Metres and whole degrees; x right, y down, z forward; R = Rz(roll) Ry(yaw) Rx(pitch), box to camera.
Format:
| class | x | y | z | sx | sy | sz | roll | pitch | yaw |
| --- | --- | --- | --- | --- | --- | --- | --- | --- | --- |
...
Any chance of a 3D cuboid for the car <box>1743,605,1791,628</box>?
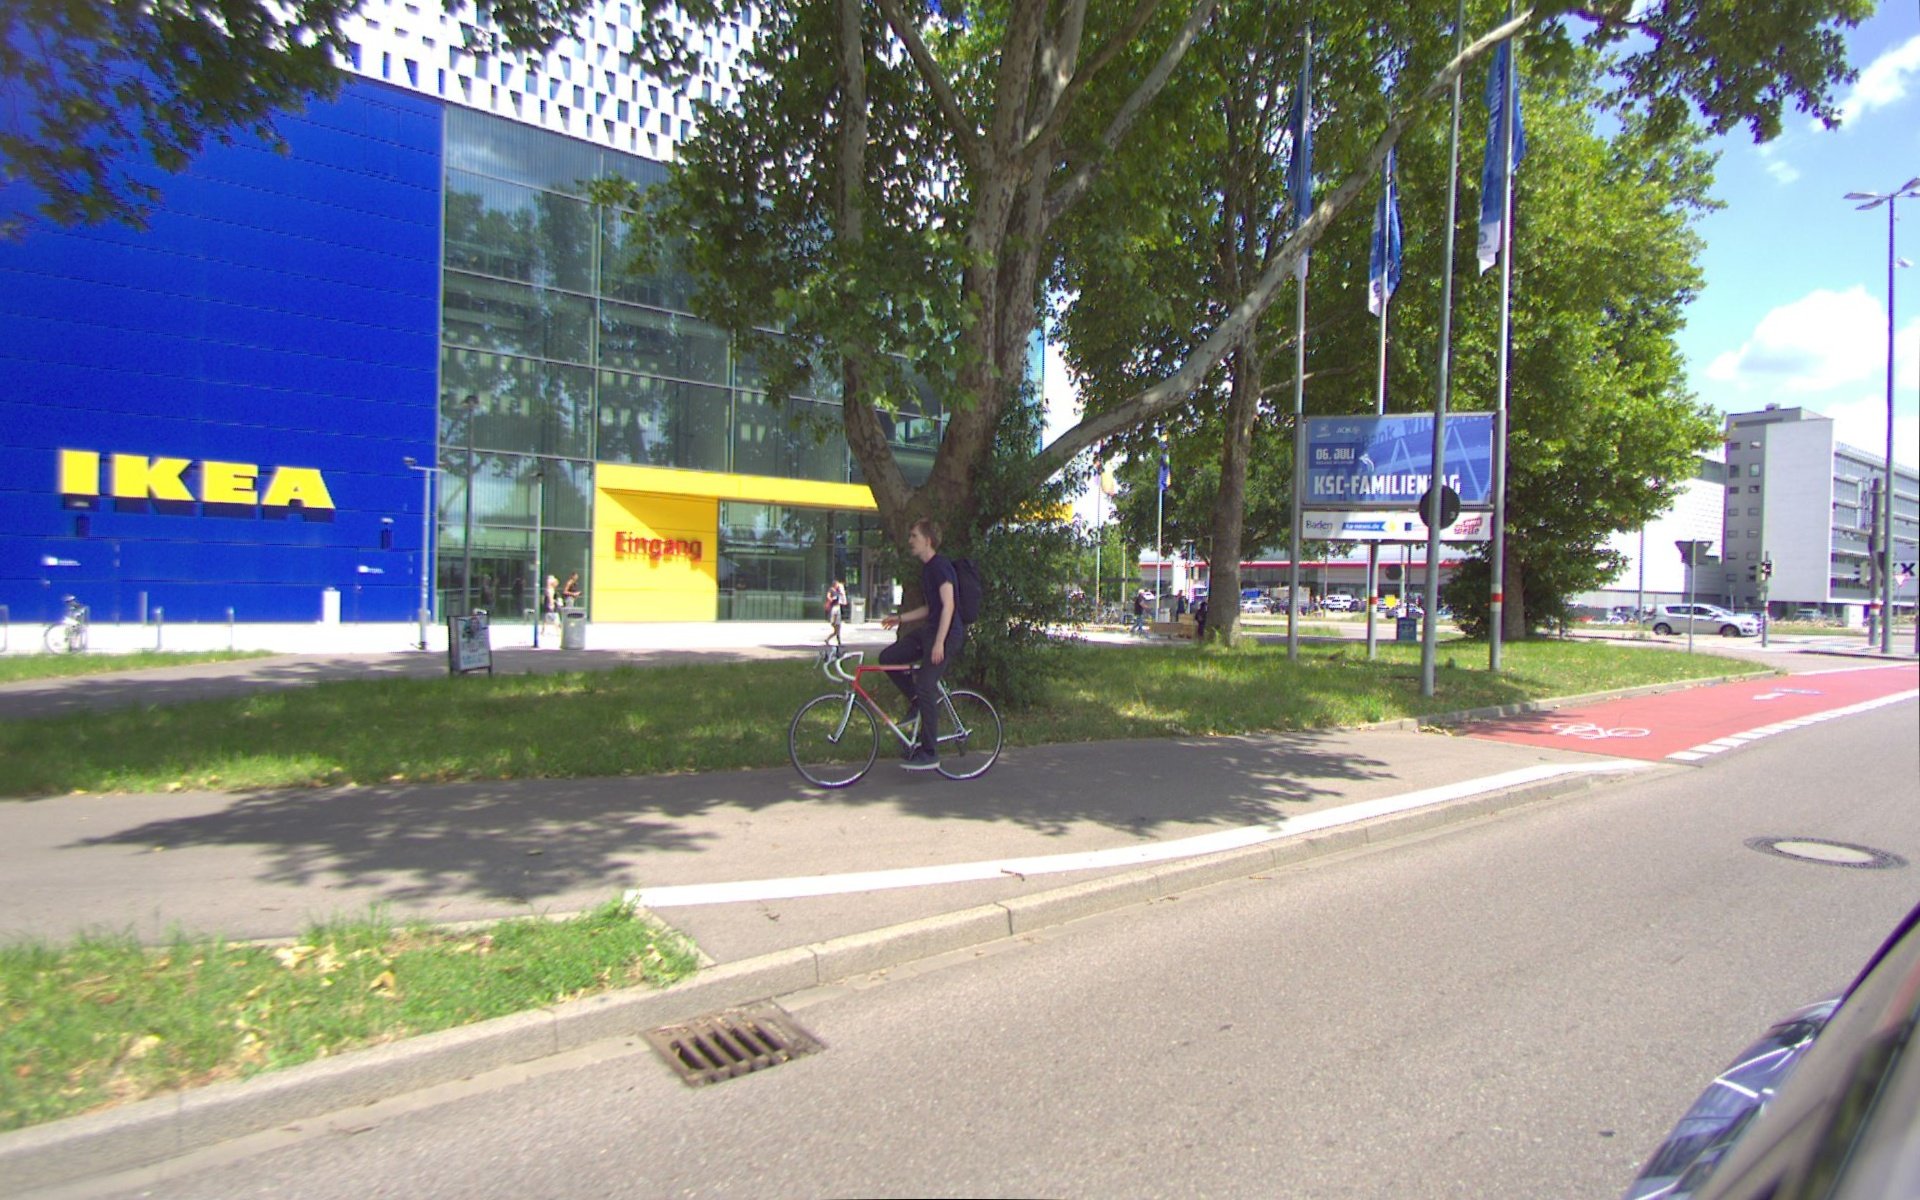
| class | x | y | z | sx | sy | sz | roll | pitch | yaw |
| --- | --- | --- | --- | --- | --- | --- | --- | --- | --- |
| car | 72.112 | 1.481 | 90.411 | 4.280 | 2.014 | 2.249 | 1 | 0 | -36 |

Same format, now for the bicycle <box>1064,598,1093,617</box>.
| class | x | y | z | sx | sy | sz | roll | pitch | yaw |
| --- | --- | --- | --- | --- | --- | --- | --- | --- | --- |
| bicycle | 6.991 | 0.457 | 59.750 | 1.832 | 1.047 | 0.424 | 2 | -1 | -34 |

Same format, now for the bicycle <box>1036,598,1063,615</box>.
| class | x | y | z | sx | sy | sz | roll | pitch | yaw |
| --- | --- | --- | --- | --- | --- | --- | --- | --- | --- |
| bicycle | 5.477 | 0.419 | 61.818 | 1.834 | 1.007 | 0.423 | 2 | 1 | -40 |

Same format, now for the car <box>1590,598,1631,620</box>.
| class | x | y | z | sx | sy | sz | roll | pitch | yaw |
| --- | --- | --- | --- | --- | --- | --- | --- | --- | --- |
| car | 64.551 | 0.909 | 100.407 | 4.540 | 2.014 | 1.999 | 1 | 0 | -37 |

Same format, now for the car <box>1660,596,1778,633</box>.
| class | x | y | z | sx | sy | sz | roll | pitch | yaw |
| --- | --- | --- | --- | --- | --- | --- | --- | --- | --- |
| car | 33.390 | 0.612 | 44.586 | 1.866 | 1.488 | 3.831 | -1 | 1 | -38 |

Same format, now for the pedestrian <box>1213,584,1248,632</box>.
| class | x | y | z | sx | sy | sz | roll | pitch | yaw |
| --- | --- | --- | --- | --- | --- | --- | --- | --- | --- |
| pedestrian | 11.224 | 0.317 | 42.017 | 0.989 | 1.926 | 0.976 | 1 | 1 | -21 |

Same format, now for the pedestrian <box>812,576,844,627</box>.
| class | x | y | z | sx | sy | sz | roll | pitch | yaw |
| --- | --- | --- | --- | --- | --- | --- | --- | --- | --- |
| pedestrian | -4.484 | 0.059 | 34.462 | 0.796 | 1.684 | 0.697 | 3 | 1 | 25 |

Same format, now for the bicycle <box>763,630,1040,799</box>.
| class | x | y | z | sx | sy | sz | roll | pitch | yaw |
| --- | --- | --- | --- | --- | --- | --- | --- | --- | --- |
| bicycle | -0.384 | 0.765 | 7.402 | 1.986 | 1.012 | 0.622 | -1 | -1 | -36 |

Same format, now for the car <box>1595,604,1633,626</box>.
| class | x | y | z | sx | sy | sz | roll | pitch | yaw |
| --- | --- | --- | --- | --- | --- | --- | --- | --- | --- |
| car | 64.308 | 1.448 | 99.483 | 3.927 | 2.039 | 1.998 | 2 | -1 | -39 |

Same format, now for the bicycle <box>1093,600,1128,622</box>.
| class | x | y | z | sx | sy | sz | roll | pitch | yaw |
| --- | --- | --- | --- | --- | --- | --- | --- | --- | --- |
| bicycle | 7.265 | 0.547 | 48.783 | 1.832 | 1.007 | 0.424 | 2 | -1 | -34 |

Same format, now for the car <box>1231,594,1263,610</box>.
| class | x | y | z | sx | sy | sz | roll | pitch | yaw |
| --- | --- | --- | --- | --- | --- | --- | --- | --- | --- |
| car | 38.859 | 0.231 | 137.027 | 4.280 | 2.014 | 2.000 | 1 | 0 | -36 |

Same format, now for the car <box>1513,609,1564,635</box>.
| class | x | y | z | sx | sy | sz | roll | pitch | yaw |
| --- | --- | --- | --- | --- | --- | --- | --- | --- | --- |
| car | 46.586 | 1.762 | 81.501 | 4.280 | 2.014 | 2.000 | 1 | 0 | -36 |

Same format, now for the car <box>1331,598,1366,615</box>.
| class | x | y | z | sx | sy | sz | roll | pitch | yaw |
| --- | --- | --- | --- | --- | --- | --- | --- | --- | --- |
| car | 47.755 | 0.840 | 124.486 | 4.280 | 2.014 | 2.000 | 1 | 0 | -36 |

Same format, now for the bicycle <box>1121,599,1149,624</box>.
| class | x | y | z | sx | sy | sz | roll | pitch | yaw |
| --- | --- | --- | --- | --- | --- | --- | --- | --- | --- |
| bicycle | 8.317 | 0.568 | 48.045 | 0.501 | 1.122 | 1.900 | 3 | 1 | 36 |

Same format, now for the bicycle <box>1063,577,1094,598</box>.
| class | x | y | z | sx | sy | sz | roll | pitch | yaw |
| --- | --- | --- | --- | --- | --- | --- | --- | --- | --- |
| bicycle | 6.278 | -0.637 | 53.573 | 1.834 | 1.007 | 0.423 | 3 | 0 | -40 |

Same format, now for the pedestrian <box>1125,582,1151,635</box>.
| class | x | y | z | sx | sy | sz | roll | pitch | yaw |
| --- | --- | --- | --- | --- | --- | --- | --- | --- | --- |
| pedestrian | 6.624 | 0.319 | 37.774 | 0.873 | 1.909 | 0.971 | 2 | 0 | 10 |

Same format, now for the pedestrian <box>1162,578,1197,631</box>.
| class | x | y | z | sx | sy | sz | roll | pitch | yaw |
| --- | --- | --- | --- | --- | --- | --- | --- | --- | --- |
| pedestrian | 8.912 | 0.189 | 41.099 | 0.989 | 2.098 | 0.976 | 1 | 0 | -21 |

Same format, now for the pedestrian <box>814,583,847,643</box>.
| class | x | y | z | sx | sy | sz | roll | pitch | yaw |
| --- | --- | --- | --- | --- | --- | --- | --- | --- | --- |
| pedestrian | -3.604 | 0.362 | 28.179 | 0.654 | 1.637 | 0.591 | 3 | -3 | -39 |

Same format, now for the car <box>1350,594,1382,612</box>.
| class | x | y | z | sx | sy | sz | roll | pitch | yaw |
| --- | --- | --- | --- | --- | --- | --- | --- | --- | --- |
| car | 49.072 | 0.370 | 122.425 | 3.924 | 2.039 | 1.777 | 1 | 0 | -36 |

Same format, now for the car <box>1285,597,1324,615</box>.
| class | x | y | z | sx | sy | sz | roll | pitch | yaw |
| --- | --- | --- | --- | --- | --- | --- | --- | --- | --- |
| car | 38.165 | 0.651 | 111.993 | 4.281 | 2.014 | 2.000 | 0 | 1 | -36 |

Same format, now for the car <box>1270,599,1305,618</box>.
| class | x | y | z | sx | sy | sz | roll | pitch | yaw |
| --- | --- | --- | --- | --- | --- | --- | --- | --- | --- |
| car | 36.932 | 0.907 | 114.093 | 4.009 | 2.014 | 1.842 | 0 | 1 | -37 |

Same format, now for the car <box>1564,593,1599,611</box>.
| class | x | y | z | sx | sy | sz | roll | pitch | yaw |
| --- | --- | --- | --- | --- | --- | --- | --- | --- | --- |
| car | 71.503 | 0.238 | 116.387 | 4.007 | 2.014 | 2.001 | 1 | 0 | -34 |

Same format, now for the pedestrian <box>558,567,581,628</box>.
| class | x | y | z | sx | sy | sz | roll | pitch | yaw |
| --- | --- | --- | --- | --- | --- | --- | --- | --- | --- |
| pedestrian | -11.200 | -0.058 | 29.039 | 0.413 | 1.723 | 0.544 | 1 | -1 | 1 |

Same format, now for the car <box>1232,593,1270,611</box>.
| class | x | y | z | sx | sy | sz | roll | pitch | yaw |
| --- | --- | --- | --- | --- | --- | --- | --- | --- | --- |
| car | 33.884 | 0.243 | 117.720 | 4.280 | 2.014 | 2.000 | 1 | 0 | -36 |

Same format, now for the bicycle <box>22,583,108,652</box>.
| class | x | y | z | sx | sy | sz | roll | pitch | yaw |
| --- | --- | --- | --- | --- | --- | --- | --- | --- | --- |
| bicycle | -17.339 | 0.307 | 19.670 | 0.680 | 1.190 | 2.531 | 1 | 2 | -29 |

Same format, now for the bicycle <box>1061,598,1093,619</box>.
| class | x | y | z | sx | sy | sz | roll | pitch | yaw |
| --- | --- | --- | --- | --- | --- | --- | --- | --- | --- |
| bicycle | 5.849 | 0.429 | 50.635 | 1.834 | 1.007 | 0.464 | 1 | 0 | -40 |

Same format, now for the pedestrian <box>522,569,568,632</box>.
| class | x | y | z | sx | sy | sz | roll | pitch | yaw |
| --- | --- | --- | --- | --- | --- | --- | --- | --- | --- |
| pedestrian | -11.334 | 0.033 | 27.638 | 0.875 | 1.685 | 0.781 | -1 | -1 | 15 |

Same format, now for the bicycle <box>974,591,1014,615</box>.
| class | x | y | z | sx | sy | sz | roll | pitch | yaw |
| --- | --- | --- | --- | --- | --- | --- | --- | --- | --- |
| bicycle | 1.908 | 0.161 | 56.656 | 2.102 | 1.245 | 0.722 | 2 | -1 | -25 |

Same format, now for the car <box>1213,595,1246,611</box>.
| class | x | y | z | sx | sy | sz | roll | pitch | yaw |
| --- | --- | --- | --- | --- | --- | --- | --- | --- | --- |
| car | 37.049 | 0.407 | 139.118 | 4.280 | 2.014 | 2.000 | 1 | 0 | -36 |

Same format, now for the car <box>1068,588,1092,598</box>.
| class | x | y | z | sx | sy | sz | roll | pitch | yaw |
| --- | --- | --- | --- | --- | --- | --- | --- | --- | --- |
| car | 19.590 | -1.183 | 165.462 | 3.758 | 1.488 | 1.681 | 2 | -1 | -33 |

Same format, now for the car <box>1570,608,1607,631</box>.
| class | x | y | z | sx | sy | sz | roll | pitch | yaw |
| --- | --- | --- | --- | --- | --- | --- | --- | --- | --- |
| car | 57.769 | 1.804 | 92.954 | 1.993 | 2.014 | 5.227 | 1 | 0 | 42 |

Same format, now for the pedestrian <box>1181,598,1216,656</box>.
| class | x | y | z | sx | sy | sz | roll | pitch | yaw |
| --- | --- | --- | --- | --- | --- | --- | --- | --- | --- |
| pedestrian | 7.221 | 0.814 | 30.617 | 0.581 | 1.684 | 0.721 | 3 | 2 | -31 |

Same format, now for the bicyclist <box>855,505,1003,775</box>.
| class | x | y | z | sx | sy | sz | roll | pitch | yaw |
| --- | --- | --- | --- | --- | --- | --- | --- | --- | --- |
| bicyclist | -0.233 | 0.275 | 7.531 | 0.906 | 1.869 | 0.611 | 1 | 0 | -36 |

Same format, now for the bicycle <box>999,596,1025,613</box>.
| class | x | y | z | sx | sy | sz | roll | pitch | yaw |
| --- | --- | --- | --- | --- | --- | --- | --- | --- | --- |
| bicycle | 3.309 | 0.312 | 64.359 | 1.834 | 1.007 | 0.423 | 3 | 0 | -40 |

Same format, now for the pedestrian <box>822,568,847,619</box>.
| class | x | y | z | sx | sy | sz | roll | pitch | yaw |
| --- | --- | --- | --- | --- | --- | --- | --- | --- | --- |
| pedestrian | -4.778 | -0.237 | 38.467 | 0.766 | 1.910 | 0.619 | 1 | 0 | -26 |
